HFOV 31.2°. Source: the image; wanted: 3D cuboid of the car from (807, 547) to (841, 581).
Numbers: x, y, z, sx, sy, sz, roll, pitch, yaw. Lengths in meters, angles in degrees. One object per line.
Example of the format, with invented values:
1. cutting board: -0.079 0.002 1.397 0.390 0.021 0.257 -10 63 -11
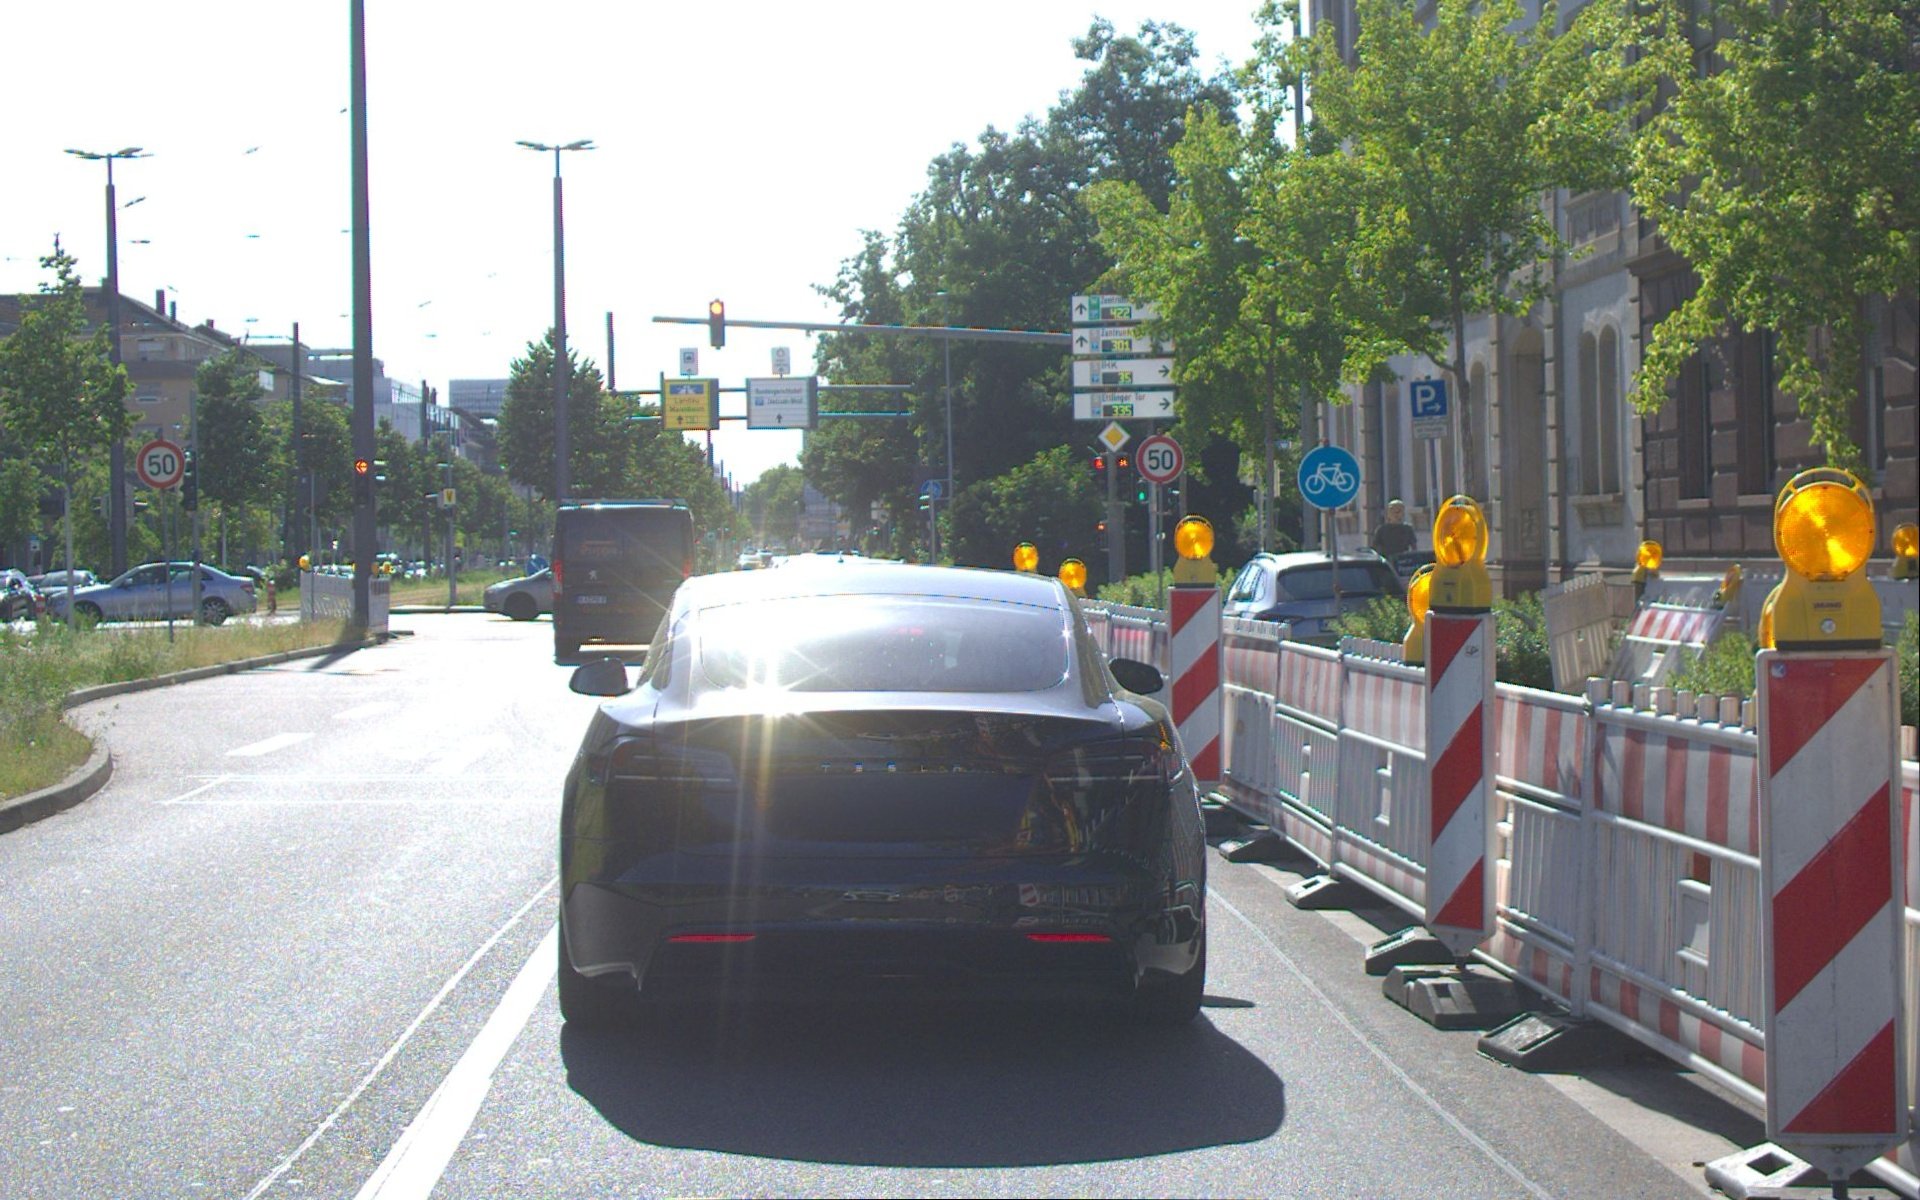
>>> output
1. car: -7.706 -2.043 194.694 1.791 1.867 3.850 0 1 -4

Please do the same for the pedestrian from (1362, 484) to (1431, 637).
1. pedestrian: 5.597 -0.512 44.096 0.658 1.906 0.587 -4 1 -3

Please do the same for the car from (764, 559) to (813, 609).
1. car: -6.496 -0.626 129.800 1.791 1.867 3.850 0 1 -4

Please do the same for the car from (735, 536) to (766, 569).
1. car: -12.068 -2.728 197.801 1.791 1.867 3.850 0 1 -4

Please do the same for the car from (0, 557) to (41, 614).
1. car: -28.578 -0.423 101.681 1.790 1.645 4.000 -1 1 -2

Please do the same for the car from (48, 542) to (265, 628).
1. car: -17.762 -0.349 75.974 4.511 1.786 2.001 -1 1 -17

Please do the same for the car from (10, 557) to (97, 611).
1. car: -28.906 -0.517 109.698 1.790 1.645 4.000 -1 1 -2

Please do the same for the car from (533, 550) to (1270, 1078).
1. car: -0.263 0.570 11.878 2.051 1.439 4.525 0 1 -3

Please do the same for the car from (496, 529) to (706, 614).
1. car: -8.037 -0.655 77.288 4.512 1.786 2.000 -1 1 -1

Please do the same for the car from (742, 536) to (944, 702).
1. car: -1.125 0.119 32.305 1.747 1.422 4.839 0 1 -3

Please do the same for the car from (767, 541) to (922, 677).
1. car: -1.370 0.068 41.057 1.749 1.522 4.005 0 1 -2

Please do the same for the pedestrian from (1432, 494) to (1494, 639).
1. pedestrian: 6.453 -0.437 44.112 0.563 1.814 0.587 -4 1 -3

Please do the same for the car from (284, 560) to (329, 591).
1. car: -35.867 -1.364 188.785 1.790 1.645 4.000 -1 1 -2

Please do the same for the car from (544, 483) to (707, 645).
1. car: -4.870 -0.561 50.581 2.218 2.259 4.485 0 1 -3

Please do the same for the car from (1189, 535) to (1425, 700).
1. car: 3.466 0.121 35.108 1.647 1.470 4.701 -4 1 -3
